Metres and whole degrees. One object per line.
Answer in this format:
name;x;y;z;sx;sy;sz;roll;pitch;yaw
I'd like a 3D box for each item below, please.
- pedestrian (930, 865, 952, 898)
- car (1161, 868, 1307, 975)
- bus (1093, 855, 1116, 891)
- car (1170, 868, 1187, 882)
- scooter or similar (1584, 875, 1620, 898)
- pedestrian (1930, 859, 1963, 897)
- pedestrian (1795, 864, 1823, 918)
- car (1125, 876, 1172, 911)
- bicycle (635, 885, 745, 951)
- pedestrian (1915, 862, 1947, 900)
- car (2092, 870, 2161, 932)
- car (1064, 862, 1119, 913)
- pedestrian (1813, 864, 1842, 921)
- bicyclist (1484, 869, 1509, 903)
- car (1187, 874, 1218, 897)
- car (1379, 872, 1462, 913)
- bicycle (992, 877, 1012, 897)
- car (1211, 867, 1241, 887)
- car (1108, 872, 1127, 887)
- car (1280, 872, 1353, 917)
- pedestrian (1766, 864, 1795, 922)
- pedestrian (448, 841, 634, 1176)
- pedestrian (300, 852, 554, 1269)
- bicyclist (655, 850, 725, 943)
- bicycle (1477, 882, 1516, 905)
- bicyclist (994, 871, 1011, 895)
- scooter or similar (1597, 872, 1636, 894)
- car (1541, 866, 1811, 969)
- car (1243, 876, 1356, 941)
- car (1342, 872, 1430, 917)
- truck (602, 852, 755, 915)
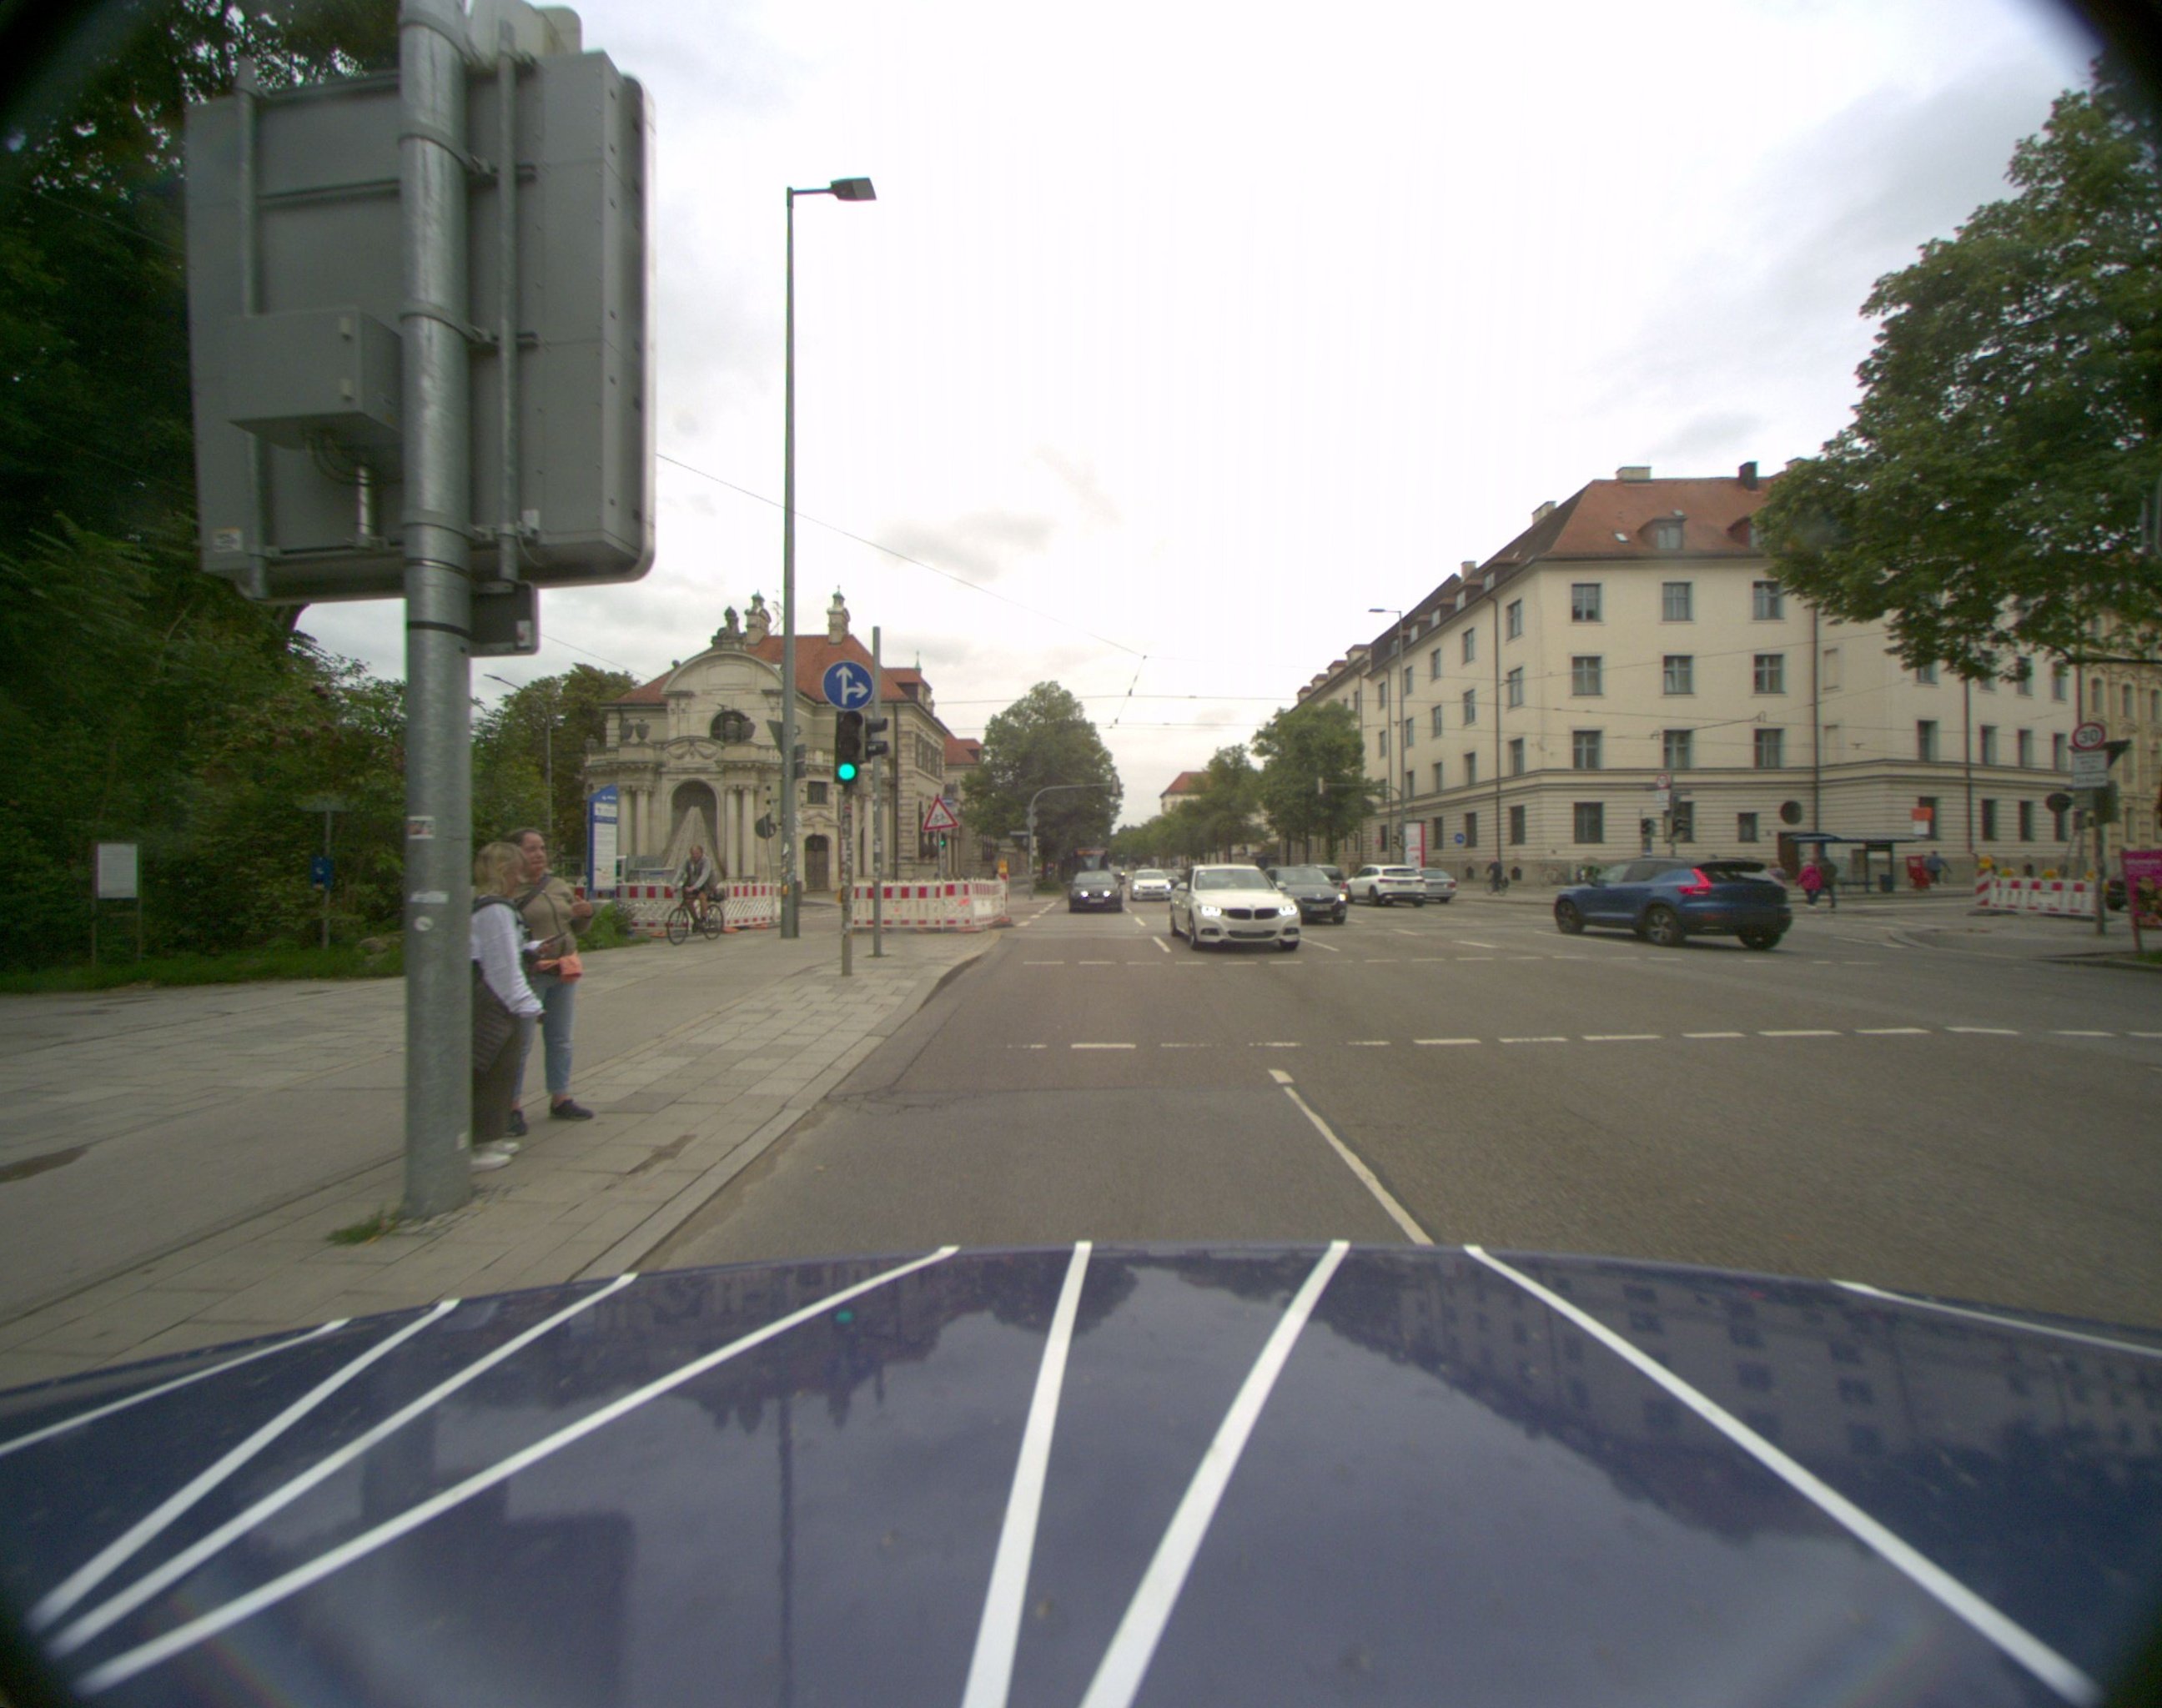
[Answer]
pedestrian;-7.703;1.487;41.789;1.067;1.754;0.774;-2;0;-8
car;2.690;1.115;14.558;1.797;1.627;5.027;-1;-1;0
bus;1.714;1.401;57.395;1.638;2.569;6.703;-1;-1;1
car;12.159;2.597;95.108;1.683;1.630;4.166;-1;-1;1
scooter or similar;27.110;1.679;39.582;0.690;1.112;1.949;-2;-1;7
pedestrian;42.262;1.175;37.113;0.807;1.841;0.660;-2;0;1
pedestrian;23.725;1.191;24.769;0.502;1.729;0.470;-1;0;19
car;3.048;1.787;35.165;1.797;1.439;4.275;-1;-1;0
bicycle;-7.264;1.154;14.254;0.739;1.051;2.164;-2;-1;5
pedestrian;42.263;1.334;37.788;0.807;1.841;0.660;-2;0;1
car;32.155;1.344;22.413;3.576;1.720;1.691;0;-1;-18
car;0.361;1.123;26.984;1.797;1.627;4.275;-1;-1;0
pedestrian;24.376;1.244;24.820;0.502;1.843;0.470;-1;0;19
bicyclist;19.748;1.490;36.117;0.661;1.569;0.892;-2;0;1
car;8.907;2.301;55.976;1.638;1.562;3.947;-1;-1;1
car;14.226;1.576;32.107;1.739;1.567;4.057;-1;-1;1
bicycle;-4.267;1.786;41.300;0.830;1.001;2.058;-2;-1;1
car;12.055;1.910;63.591;1.757;1.521;4.227;-1;-1;1
car;3.772;2.631;80.069;1.797;1.439;4.275;-1;-1;0
car;8.990;1.506;29.345;1.638;1.562;3.947;-1;-1;1
pedestrian;22.897;1.267;24.871;0.502;1.843;0.528;-1;0;19
pedestrian;-3.044;0.821;4.343;0.610;1.750;0.635;-1;-1;-5
pedestrian;-2.996;0.875;3.544;0.626;1.750;0.635;-1;0;-3
bicyclist;-7.274;0.773;14.176;0.758;1.657;0.899;-2;0;5
bicycle;19.766;1.877;36.212;0.663;0.982;2.182;-2;-1;1
bicyclist;-4.273;1.576;41.443;0.808;1.305;0.894;-2;-1;1
scooter or similar;27.933;1.505;39.674;0.690;1.112;1.948;-2;-1;1
car;11.083;1.073;14.657;1.844;1.645;4.351;1;-1;1
car;5.686;1.366;20.347;1.797;1.439;4.275;-1;-1;0
car;11.578;1.482;29.104;1.748;1.586;4.001;1;-1;0
truck;-17.604;1.289;33.256;5.925;2.479;2.297;-2;-1;16
